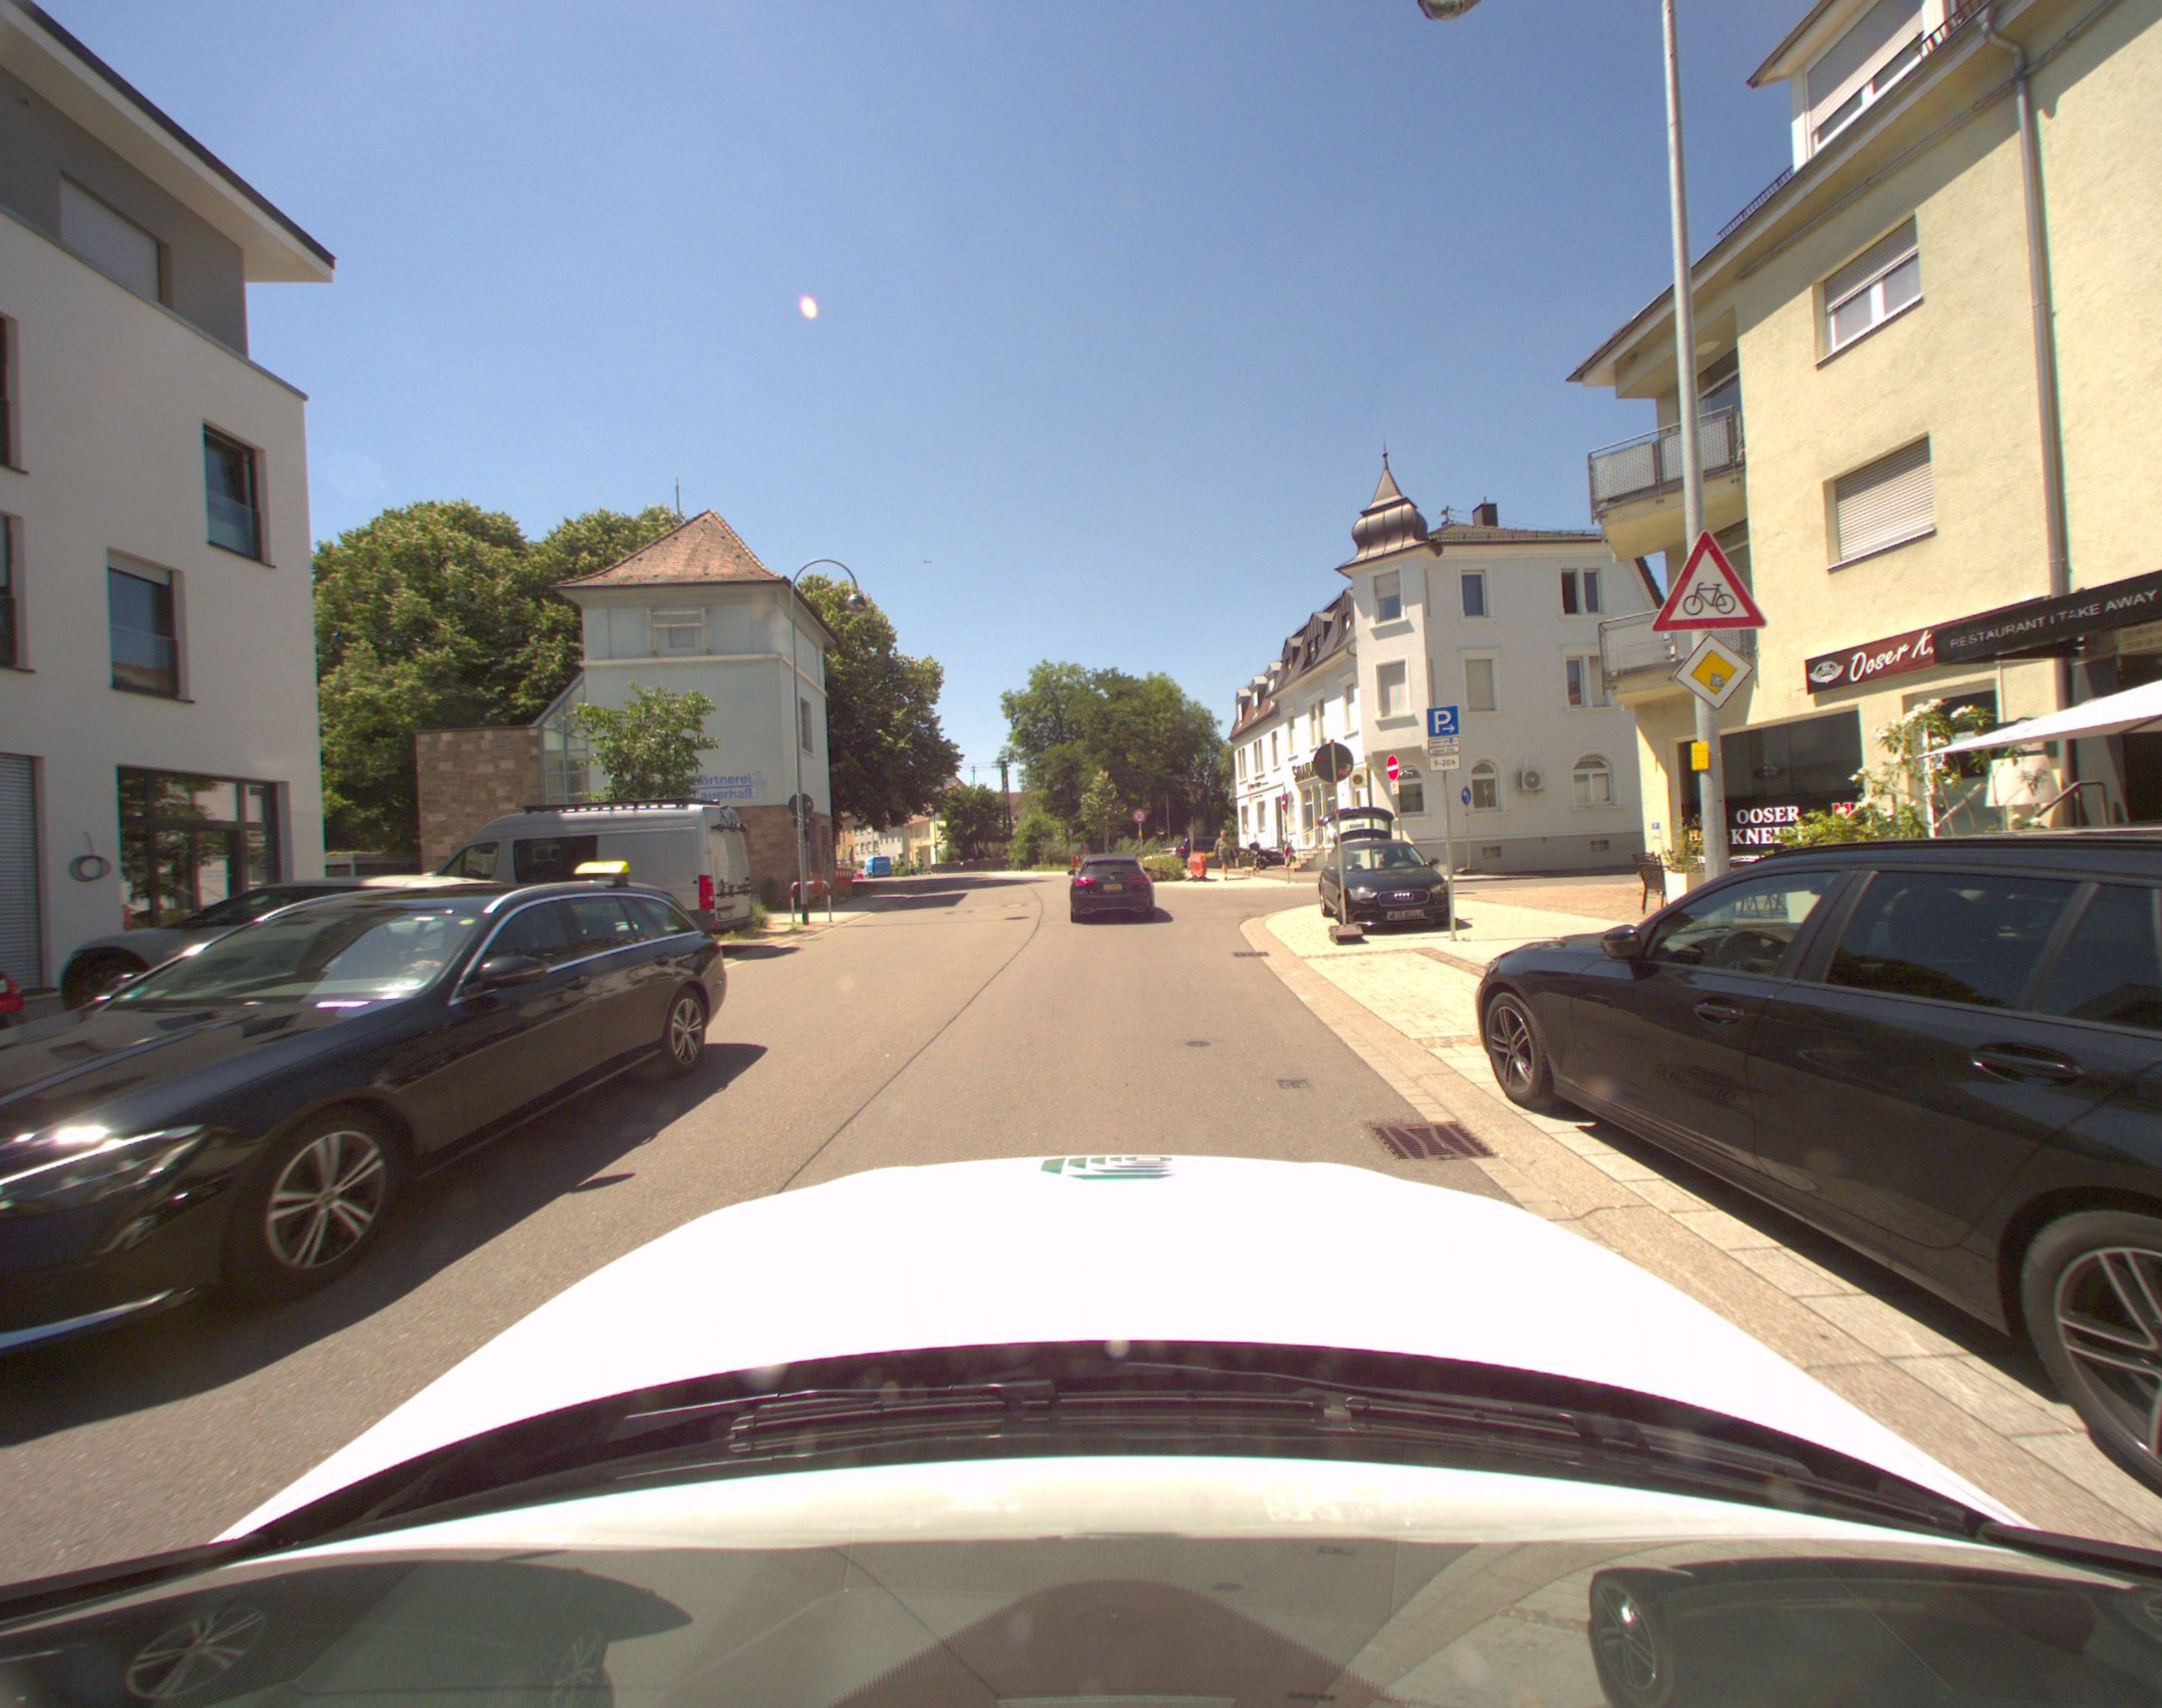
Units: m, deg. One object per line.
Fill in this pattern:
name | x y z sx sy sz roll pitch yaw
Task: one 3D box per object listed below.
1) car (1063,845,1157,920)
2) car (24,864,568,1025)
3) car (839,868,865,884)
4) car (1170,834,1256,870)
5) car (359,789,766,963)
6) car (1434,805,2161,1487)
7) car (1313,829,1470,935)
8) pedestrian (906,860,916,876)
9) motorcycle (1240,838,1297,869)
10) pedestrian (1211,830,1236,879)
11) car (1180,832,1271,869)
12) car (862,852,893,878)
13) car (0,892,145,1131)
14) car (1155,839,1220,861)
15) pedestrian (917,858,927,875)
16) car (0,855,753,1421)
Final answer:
car | 0.656 0.649 18.528 1.821 1.442 4.001 -3 -2 2
car | -9.069 0.973 9.797 4.443 1.591 1.998 -2 -1 -3
car | -26.917 2.551 95.682 2.005 1.746 4.289 -2 0 -29
car | 6.833 -0.091 42.427 4.068 1.716 1.853 -2 -1 -5
car | -9.059 0.361 14.704 5.752 2.732 2.290 -2 -1 -2
car | 3.173 0.601 3.041 1.718 1.405 4.610 -5 -1 2
car | 5.253 0.374 14.287 1.860 1.491 3.874 -4 1 11
pedestrian | -17.519 1.480 83.943 0.618 1.612 0.829 -3 -1 -33
motorcycle | 8.513 -0.020 37.038 2.372 1.275 0.855 -2 0 -4
pedestrian | 5.303 0.004 30.356 0.742 1.796 0.845 -3 1 5
car | 7.144 -0.168 40.436 4.068 1.716 1.853 -2 -1 -5
car | -21.562 1.202 86.223 2.145 2.541 4.607 -3 -1 -27
car | -8.703 1.033 4.648 4.195 1.437 1.881 -2 -1 -7
car | 7.052 -0.292 53.659 4.224 1.349 1.839 -1 3 -39
pedestrian | -16.304 1.272 83.362 0.693 1.741 0.666 -4 -1 44
car | -3.743 0.828 4.655 1.889 1.553 4.795 -2 0 -2
